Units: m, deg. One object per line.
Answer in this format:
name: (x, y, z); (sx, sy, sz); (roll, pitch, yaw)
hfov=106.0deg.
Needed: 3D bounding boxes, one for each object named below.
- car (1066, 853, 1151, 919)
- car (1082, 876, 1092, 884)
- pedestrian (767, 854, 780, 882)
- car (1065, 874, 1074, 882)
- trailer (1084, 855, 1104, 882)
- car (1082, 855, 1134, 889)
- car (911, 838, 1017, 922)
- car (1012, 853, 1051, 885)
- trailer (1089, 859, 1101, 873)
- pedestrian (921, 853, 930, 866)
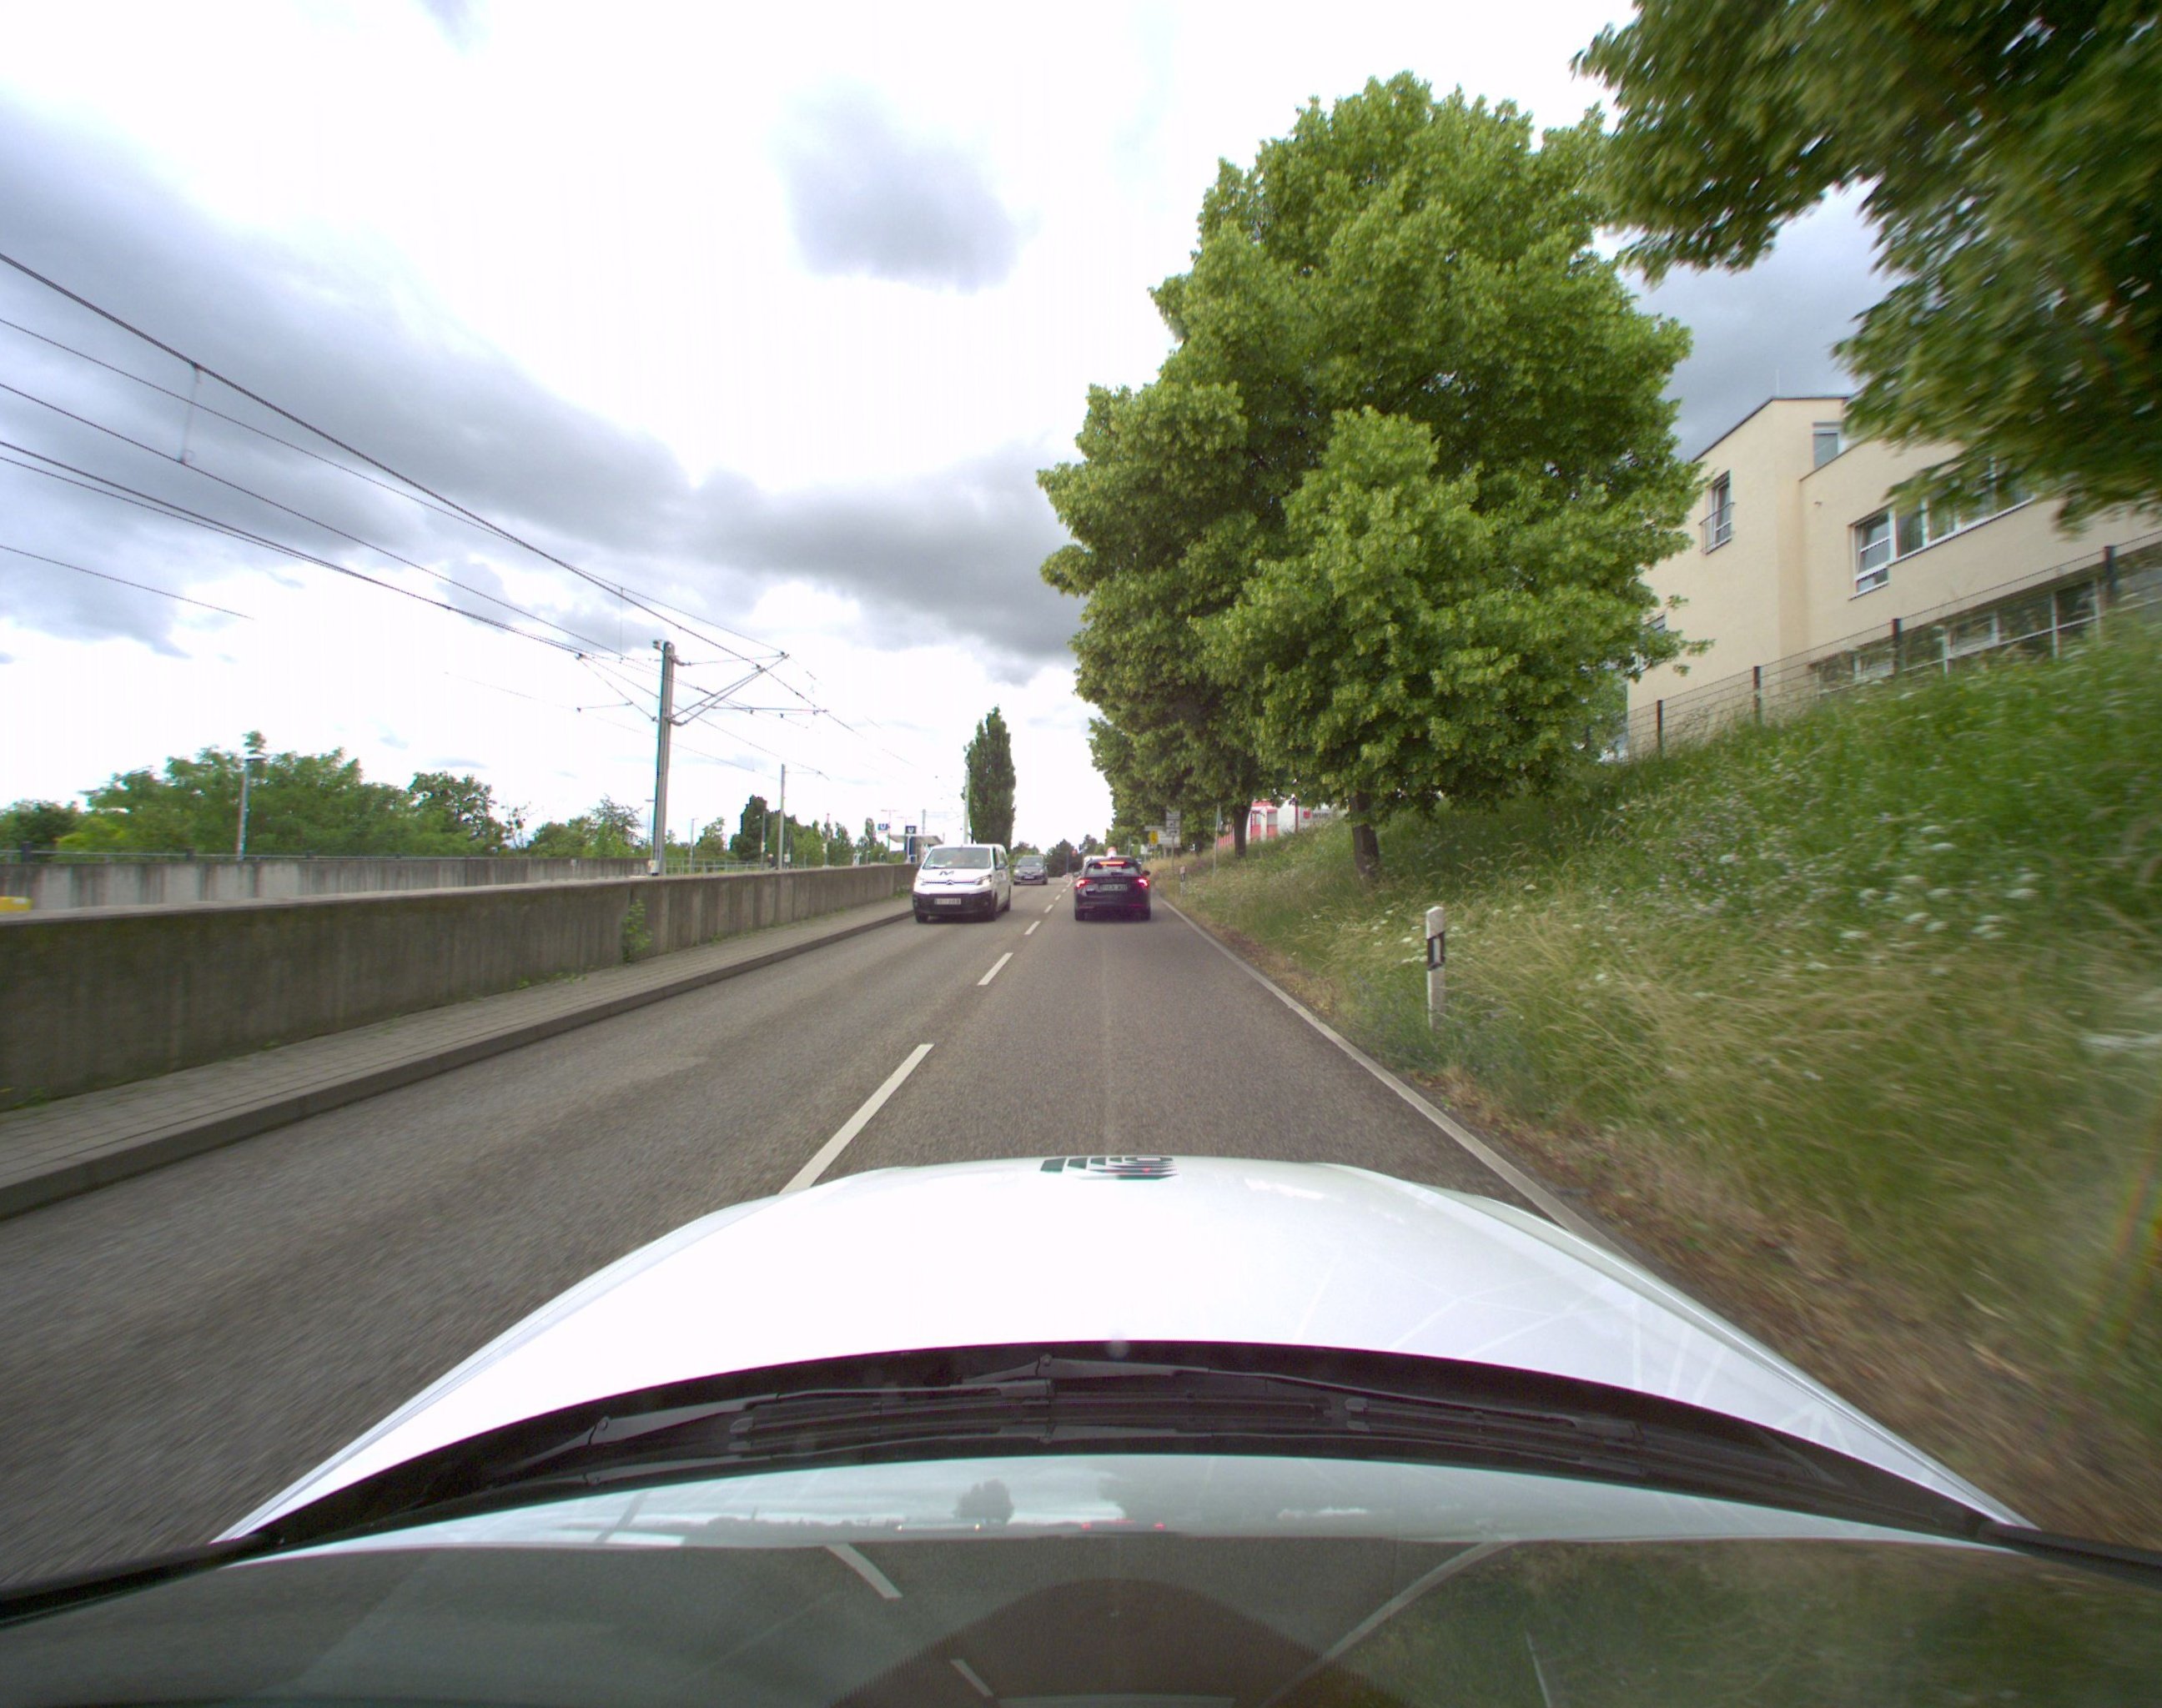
car: (0.791, 0.698, 20.035); (1.827, 1.432, 4.285); (0, 0, 5)
car: (1.074, 4.532, 141.489); (1.805, 1.354, 4.118); (0, -1, 1)
pedestrian: (-17.974, 0.803, 47.604); (0.505, 1.625, 0.646); (0, -1, 0)
car: (-1.970, 4.082, 140.484); (1.521, 1.354, 3.488); (0, -1, -2)
trailer: (1.988, 2.328, 127.862); (2.560, 3.707, 7.750); (0, -5, -3)
car: (1.159, 0.780, 36.750); (1.623, 1.457, 3.676); (-1, 0, -10)
car: (-2.832, 0.600, 20.774); (1.890, 1.833, 4.905); (-2, -1, 0)
car: (-2.634, 0.792, 44.481); (1.817, 1.657, 4.245); (0, 0, 0)
trailer: (1.663, 1.474, 97.319); (1.405, 1.594, 3.301); (0, -2, -1)
pedestrian: (-14.570, 0.561, 76.351); (0.760, 1.199, 0.664); (0, -2, -5)
